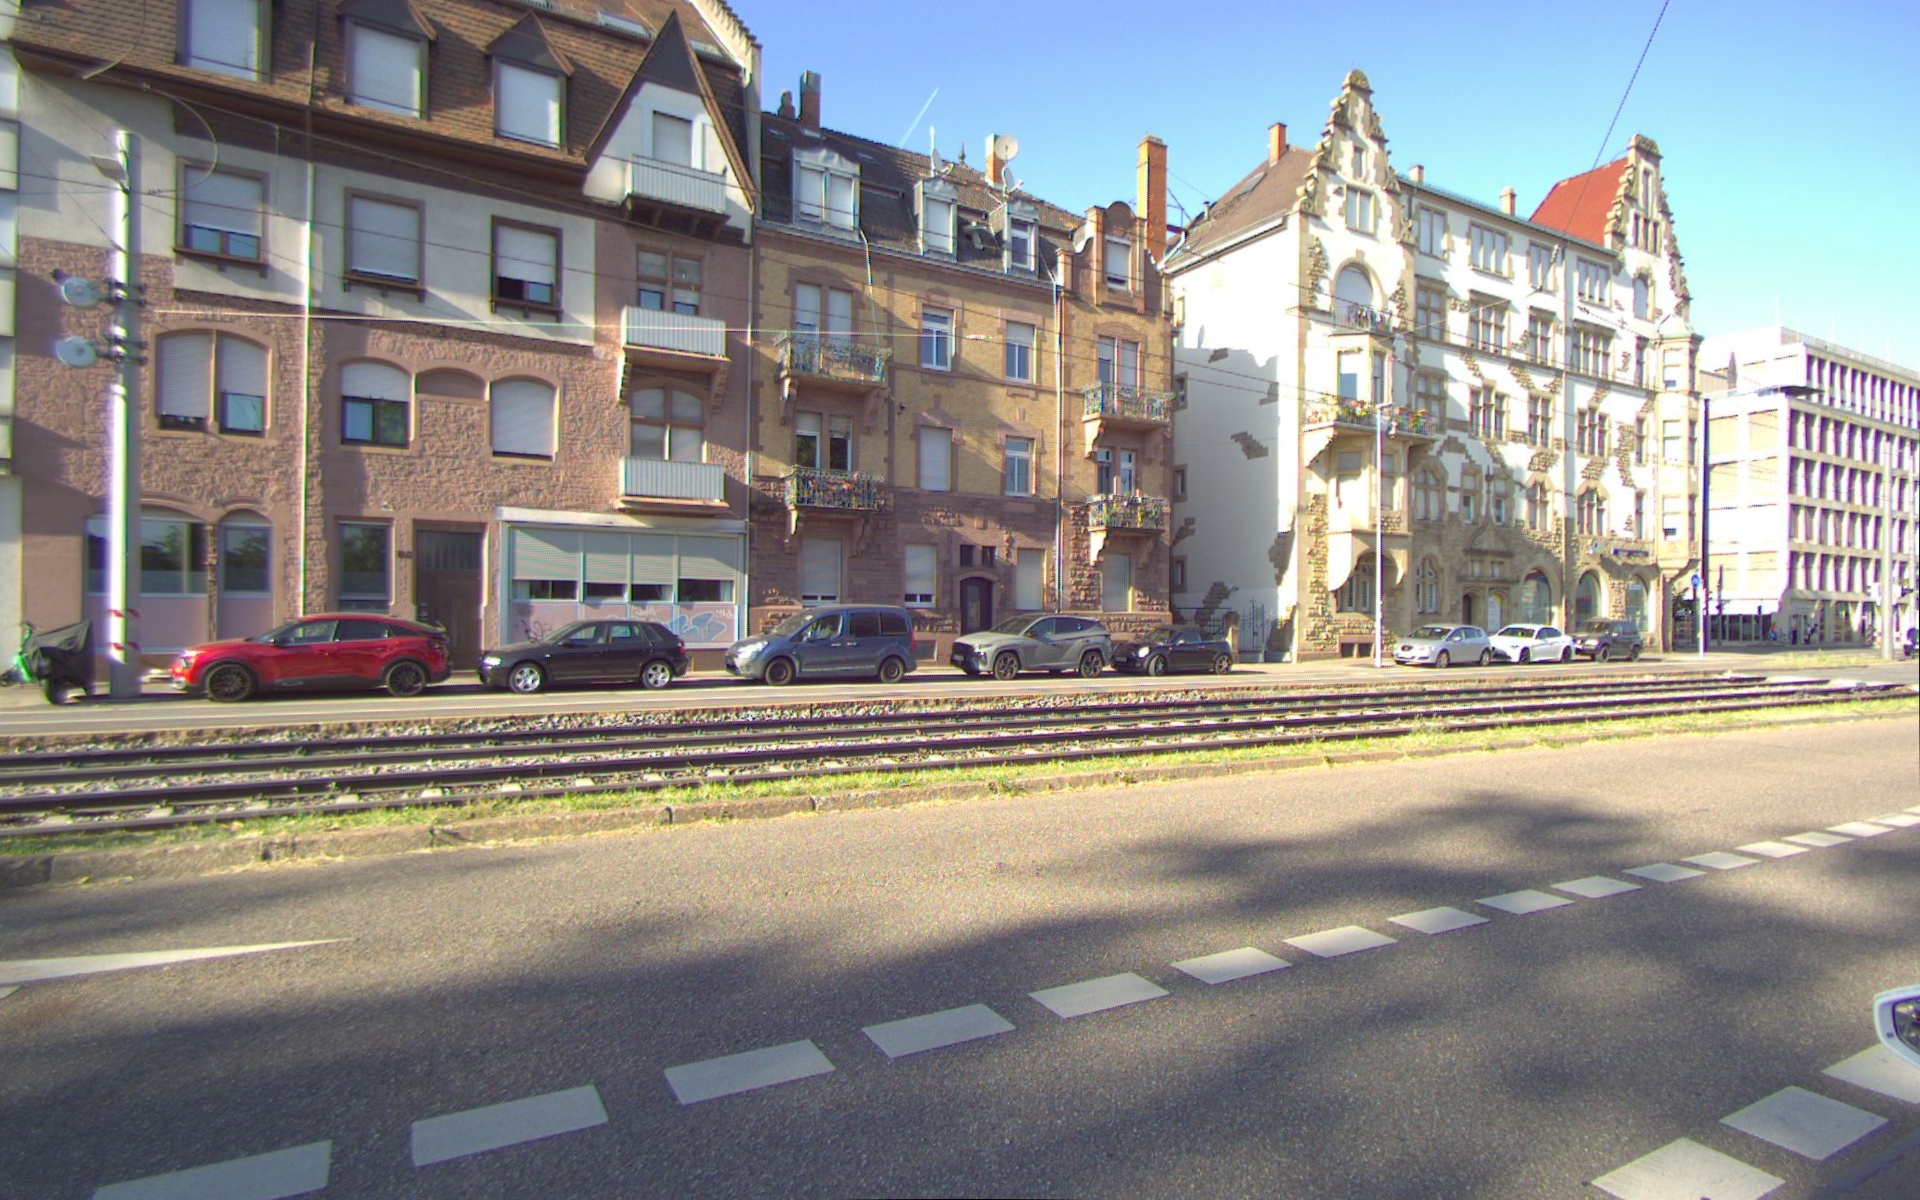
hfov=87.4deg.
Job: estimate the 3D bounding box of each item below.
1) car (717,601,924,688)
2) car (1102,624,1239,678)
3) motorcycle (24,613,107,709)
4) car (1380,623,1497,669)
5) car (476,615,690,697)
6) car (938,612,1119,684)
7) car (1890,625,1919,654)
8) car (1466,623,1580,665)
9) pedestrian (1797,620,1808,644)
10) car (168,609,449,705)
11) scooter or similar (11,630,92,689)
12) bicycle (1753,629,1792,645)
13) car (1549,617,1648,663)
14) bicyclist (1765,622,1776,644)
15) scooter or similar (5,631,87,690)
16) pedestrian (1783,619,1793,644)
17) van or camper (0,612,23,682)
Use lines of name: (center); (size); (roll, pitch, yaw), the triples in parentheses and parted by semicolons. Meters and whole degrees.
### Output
car: (-3.213, 0.990, 23.250); (4.361, 1.782, 1.878); (1, 2, -28)
car: (5.999, 1.410, 28.603); (3.683, 1.373, 1.614); (1, 2, -31)
motorcycle: (-14.971, 0.979, 16.860); (0.621, 1.441, 1.847); (0, 2, -29)
car: (16.658, 1.557, 34.943); (4.177, 1.450, 1.700); (1, 1, -32)
car: (-7.721, 1.085, 20.640); (3.882, 1.457, 1.686); (1, 2, -31)
car: (1.815, 1.195, 26.243); (4.450, 1.645, 1.846); (1, 2, -31)
car: (50.274, 2.063, 52.230); (4.121, 1.476, 1.810); (1, -2, -33)
car: (21.300, 1.630, 37.933); (4.603, 1.442, 1.708); (1, 1, -32)
pedestrian: (64.174, 2.422, 76.475); (0.522, 1.868, 0.443); (0, -1, 23)
car: (-11.827, 0.984, 18.561); (4.162, 1.519, 1.846); (1, 2, -31)
scooter or similar: (-17.231, 1.113, 19.069); (1.108, 1.083, 0.203); (1, 1, -30)
bicycle: (63.990, 2.875, 79.152); (2.351, 1.231, 0.575); (-1, -2, 37)
car: (25.898, 1.574, 40.691); (4.169, 1.698, 1.708); (1, 1, -32)
bicyclist: (63.914, 2.602, 79.227); (0.633, 1.708, 0.575); (-1, -1, 37)
scooter or similar: (-17.103, 1.119, 18.815); (1.108, 1.083, 0.203); (1, 1, -30)
pedestrian: (63.376, 2.402, 76.904); (0.464, 1.868, 0.443); (0, -1, 23)
van or camper: (-19.355, 0.922, 19.907); (0.794, 1.375, 1.418); (1, -1, -29)
